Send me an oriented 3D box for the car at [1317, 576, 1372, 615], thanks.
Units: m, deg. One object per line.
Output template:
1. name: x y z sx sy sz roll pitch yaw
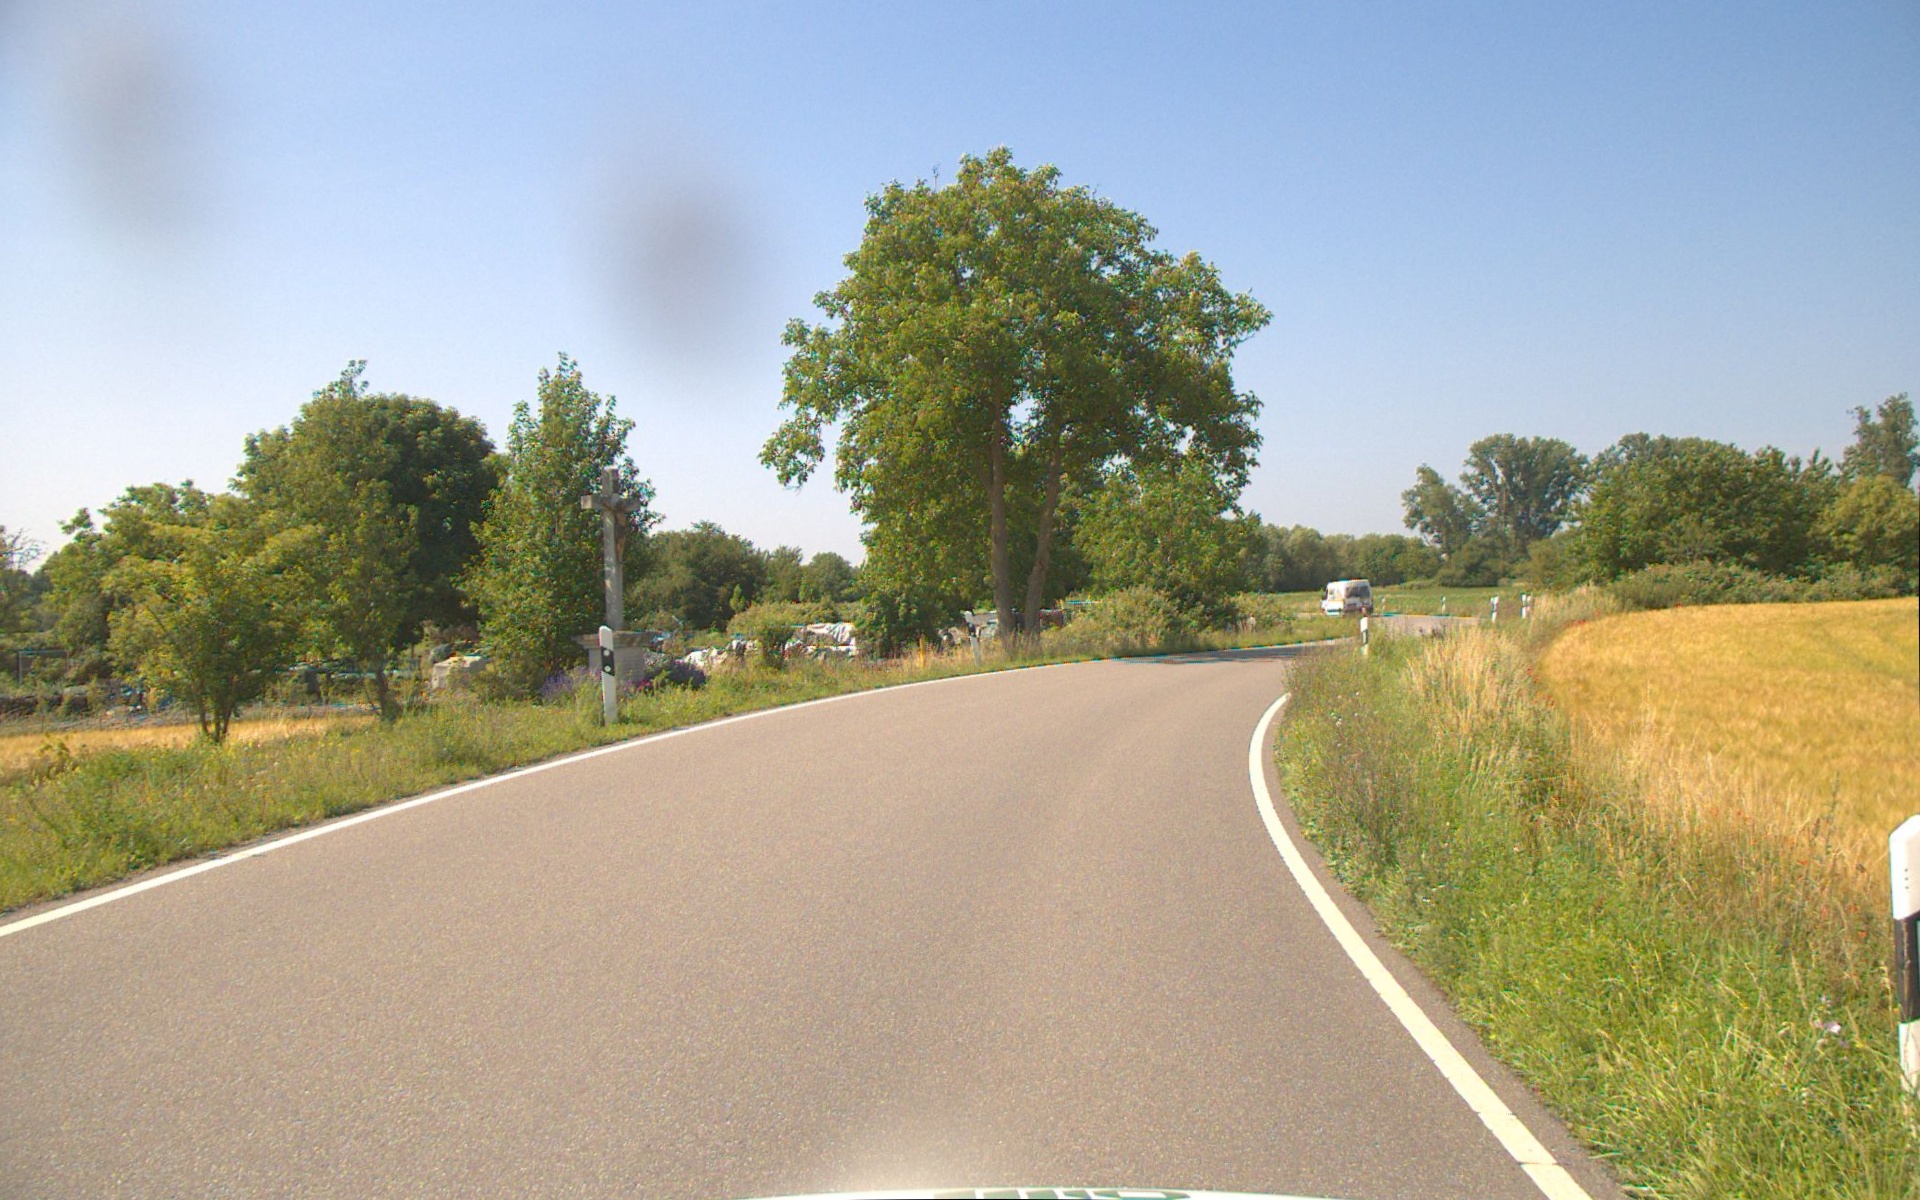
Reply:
1. car: 25.416 -0.333 109.603 2.062 2.408 5.684 -2 1 -2
